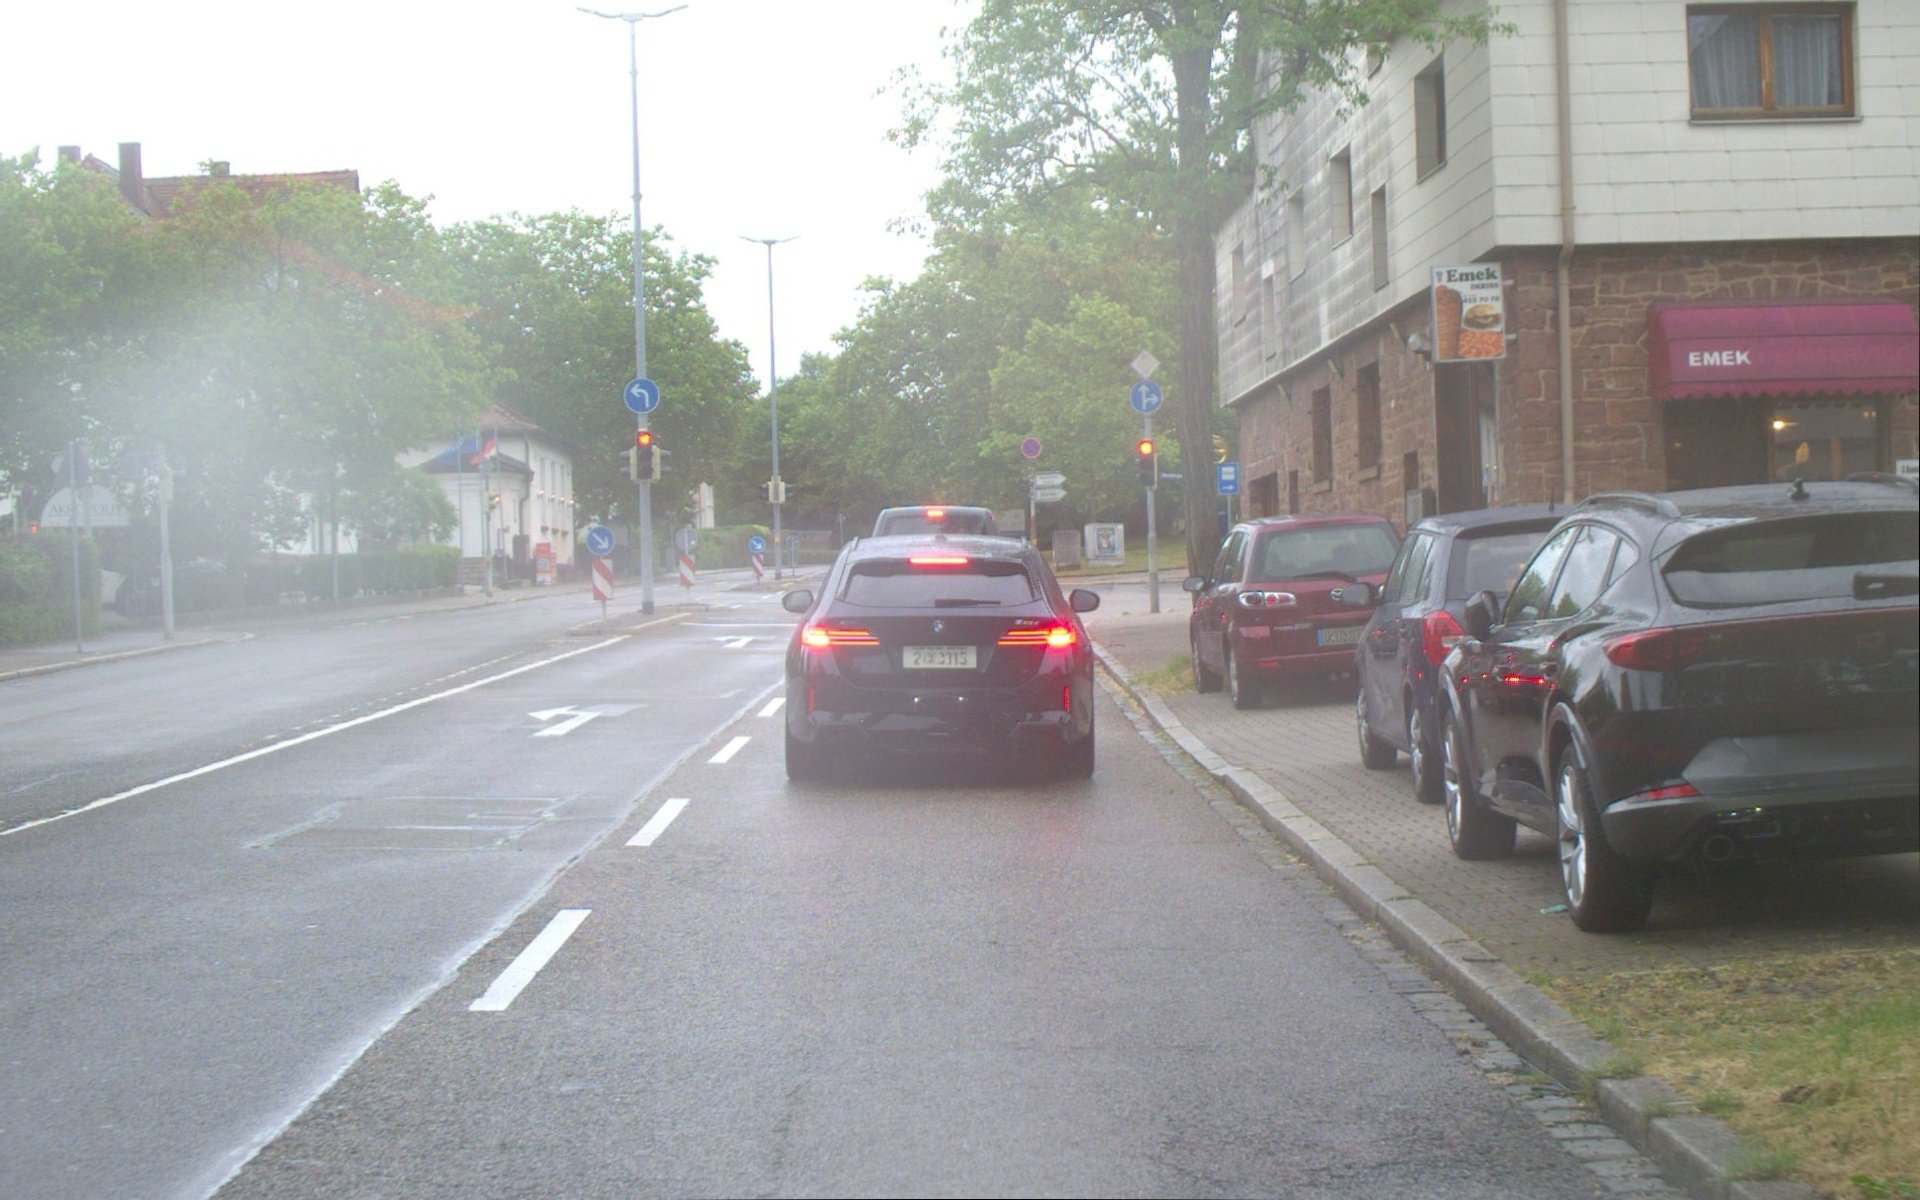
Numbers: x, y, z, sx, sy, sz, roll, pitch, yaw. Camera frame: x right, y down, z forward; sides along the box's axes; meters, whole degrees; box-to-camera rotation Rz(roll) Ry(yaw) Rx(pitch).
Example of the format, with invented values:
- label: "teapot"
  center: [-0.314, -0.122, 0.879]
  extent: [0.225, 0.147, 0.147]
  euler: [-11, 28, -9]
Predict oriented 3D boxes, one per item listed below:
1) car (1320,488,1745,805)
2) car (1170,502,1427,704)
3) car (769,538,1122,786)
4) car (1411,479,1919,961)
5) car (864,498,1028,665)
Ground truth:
- label: "car"
  center: [3.038, 0.194, 18.943]
  extent: [1.604, 1.467, 3.856]
  euler: [-4, 1, 0]
- label: "car"
  center: [2.760, -0.021, 28.678]
  extent: [1.584, 1.485, 3.628]
  euler: [-4, 2, -2]
- label: "car"
  center: [-0.159, 0.338, 22.390]
  extent: [2.064, 1.441, 4.483]
  euler: [0, 1, -2]
- label: "car"
  center: [2.907, 0.332, 13.186]
  extent: [1.714, 1.493, 4.183]
  euler: [-3, 1, 0]
- label: "car"
  center: [-0.209, -0.244, 39.571]
  extent: [1.783, 1.811, 4.000]
  euler: [0, 1, -2]
